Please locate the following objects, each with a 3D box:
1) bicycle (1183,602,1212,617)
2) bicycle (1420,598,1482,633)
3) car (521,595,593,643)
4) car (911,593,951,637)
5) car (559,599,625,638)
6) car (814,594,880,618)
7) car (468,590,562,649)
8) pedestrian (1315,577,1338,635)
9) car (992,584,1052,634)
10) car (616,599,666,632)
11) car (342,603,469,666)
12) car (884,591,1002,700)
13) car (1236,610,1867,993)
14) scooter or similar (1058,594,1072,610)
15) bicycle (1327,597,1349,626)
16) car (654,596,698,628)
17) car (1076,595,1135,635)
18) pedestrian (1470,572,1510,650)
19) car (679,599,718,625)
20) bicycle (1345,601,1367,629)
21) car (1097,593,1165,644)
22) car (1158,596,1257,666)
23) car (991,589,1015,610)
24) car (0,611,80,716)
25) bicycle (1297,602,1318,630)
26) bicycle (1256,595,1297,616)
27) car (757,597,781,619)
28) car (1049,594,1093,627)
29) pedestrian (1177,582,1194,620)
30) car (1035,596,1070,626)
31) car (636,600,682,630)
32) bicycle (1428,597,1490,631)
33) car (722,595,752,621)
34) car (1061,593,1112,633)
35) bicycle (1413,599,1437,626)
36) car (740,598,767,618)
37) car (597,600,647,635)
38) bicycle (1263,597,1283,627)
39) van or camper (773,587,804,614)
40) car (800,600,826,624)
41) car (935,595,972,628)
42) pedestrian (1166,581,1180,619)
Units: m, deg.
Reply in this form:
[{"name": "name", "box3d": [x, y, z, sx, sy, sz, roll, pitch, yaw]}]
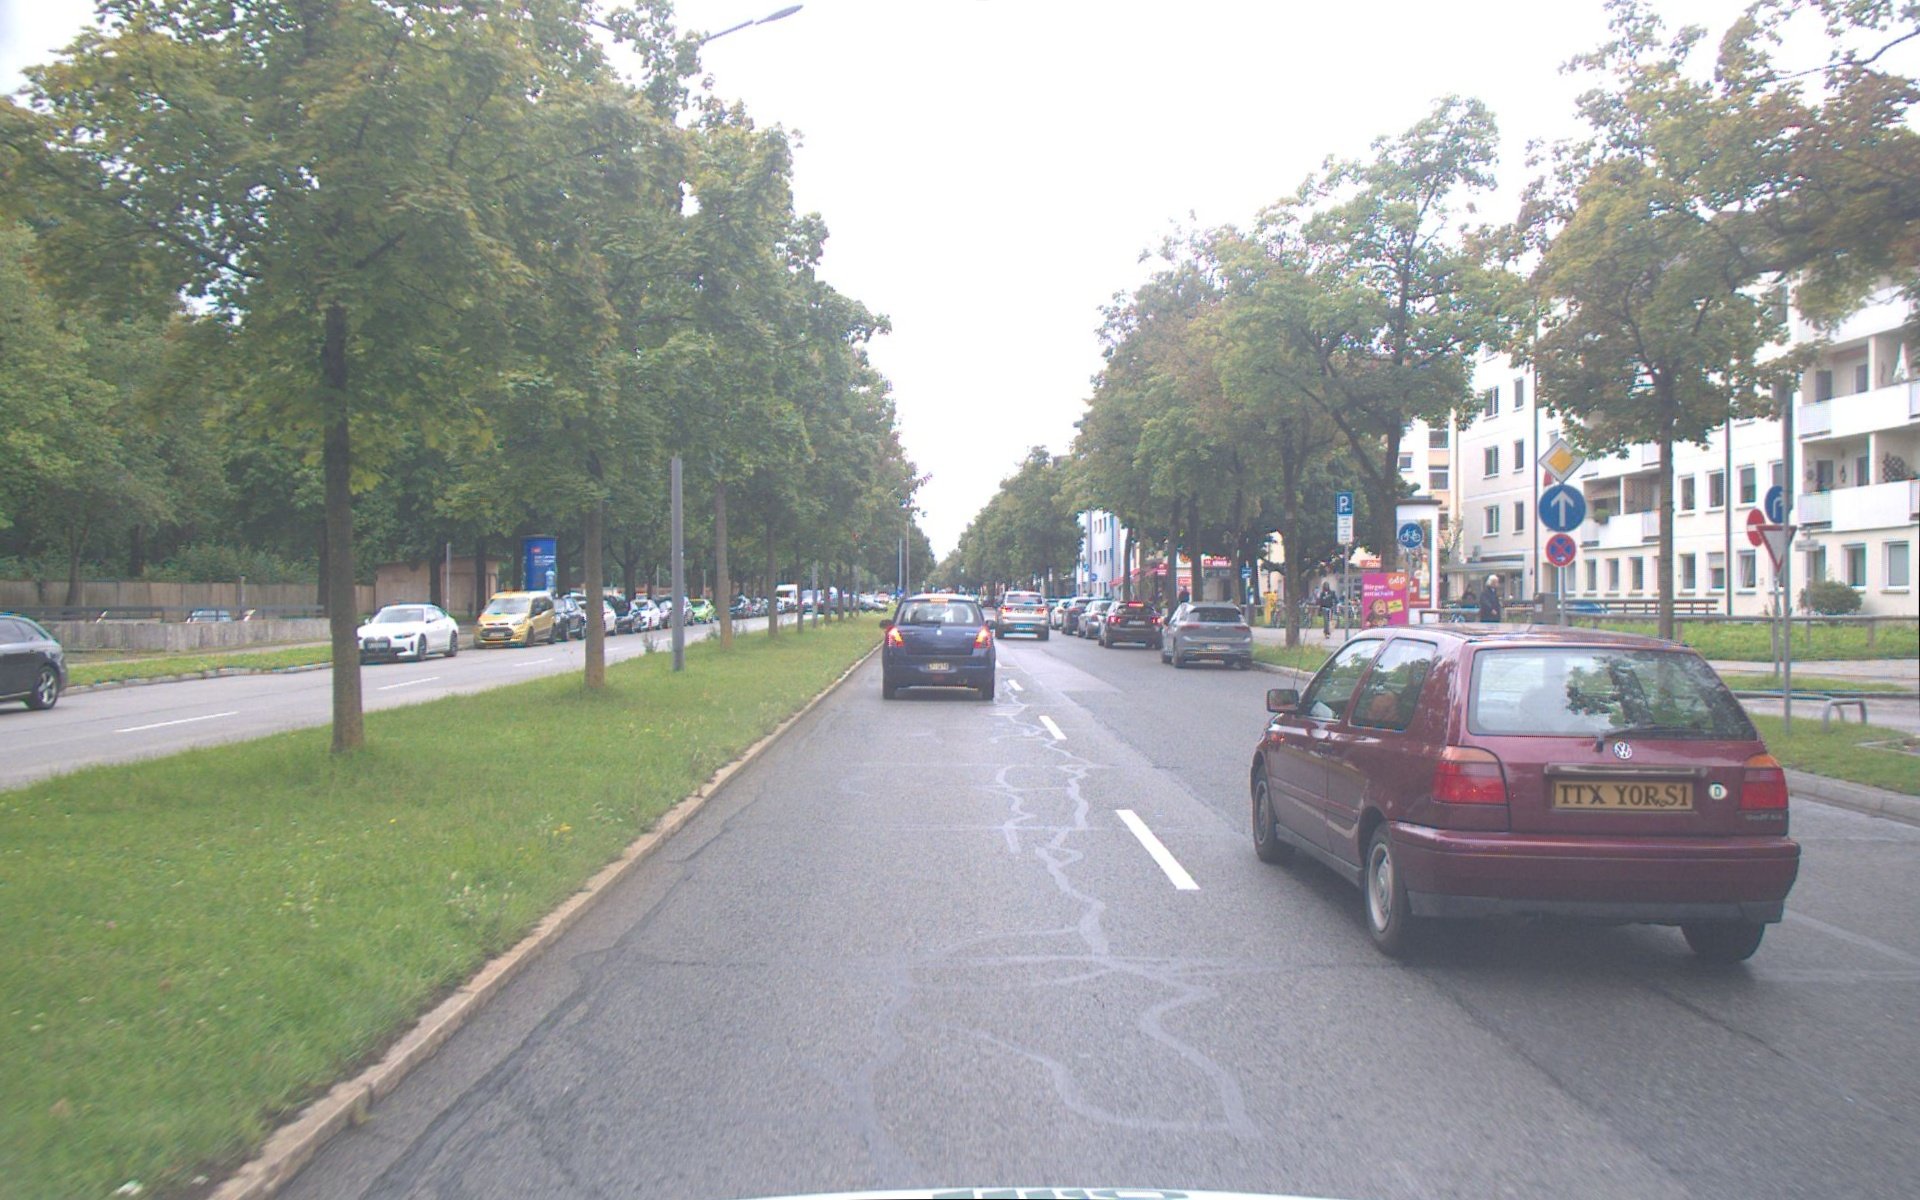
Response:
[{"name": "bicycle", "box3d": [15.480, 0.604, 107.851, 1.810, 0.974, 0.557, 1, 0, -2]}, {"name": "bicycle", "box3d": [15.342, 0.473, 51.678, 1.842, 1.046, 0.432, -1, 0, -9]}, {"name": "car", "box3d": [-15.014, 0.681, 61.788, 1.701, 1.675, 4.255, -2, 0, -1]}, {"name": "car", "box3d": [-1.060, 0.520, 59.284, 1.415, 1.509, 3.105, 0, 0, -2]}, {"name": "car", "box3d": [-15.067, 0.734, 67.893, 1.727, 1.475, 4.532, -2, 0, -1]}, {"name": "car", "box3d": [-7.116, 0.353, 104.149, 4.043, 1.494, 1.837, 0, 0, -7]}, {"name": "car", "box3d": [-14.752, 0.607, 55.121, 1.777, 1.814, 4.817, -2, 0, 0]}, {"name": "pedestrian", "box3d": [11.466, 0.176, 51.768, 0.625, 1.780, 0.850, -2, 0, 14]}, {"name": "car", "box3d": [2.181, 0.304, 59.235, 1.828, 1.690, 4.406, 1, 0, -2]}, {"name": "car", "box3d": [-15.200, 0.740, 79.013, 1.574, 1.469, 4.278, -2, 0, -1]}, {"name": "car", "box3d": [-14.820, 0.885, 44.467, 1.819, 1.498, 4.874, -2, 0, -1]}, {"name": "car", "box3d": [-0.295, 0.628, 25.233, 1.648, 1.528, 3.917, 0, 0, -2]}, {"name": "car", "box3d": [2.598, 0.789, 8.289, 1.648, 1.408, 3.917, 1, 0, -2]}, {"name": "scooter or similar", "box3d": [9.028, 0.178, 142.370, 1.011, 1.330, 2.755, 0, 0, 0]}, {"name": "bicycle", "box3d": [14.818, 0.446, 64.915, 0.422, 1.120, 1.883, -1, 0, 0]}, {"name": "car", "box3d": [-15.397, 0.627, 89.857, 1.656, 1.614, 4.369, -2, 0, -2]}, {"name": "car", "box3d": [5.438, 0.528, 62.225, 1.603, 1.410, 4.241, 1, 0, -4]}, {"name": "pedestrian", "box3d": [12.015, 0.249, 37.483, 0.633, 1.760, 0.594, 1, -1, -32]}, {"name": "car", "box3d": [-15.509, 0.697, 98.188, 1.515, 1.434, 3.880, -2, 0, 2]}, {"name": "bicycle", "box3d": [15.508, 0.581, 64.831, 0.422, 1.046, 1.883, -1, 0, 0]}, {"name": "car", "box3d": [5.316, 0.558, 51.916, 1.714, 1.491, 4.176, 1, 0, 0]}, {"name": "car", "box3d": [5.637, 0.668, 38.037, 1.647, 1.491, 4.115, 1, 0, 0]}, {"name": "car", "box3d": [3.677, -0.061, 142.246, 1.828, 1.712, 4.222, 0, 0, -2]}, {"name": "car", "box3d": [-14.310, 0.929, 22.996, 1.763, 1.450, 4.430, -2, 0, -1]}, {"name": "bicycle", "box3d": [13.675, 0.616, 65.136, 0.422, 1.046, 1.883, -1, 0, 0]}, {"name": "bicycle", "box3d": [14.810, 0.269, 77.402, 1.839, 0.956, 0.558, 1, 0, 1]}, {"name": "car", "box3d": [-15.855, 0.647, 137.464, 1.599, 1.771, 3.878, 1, 0, -2]}, {"name": "car", "box3d": [5.220, 0.476, 78.222, 1.648, 1.491, 4.136, 2, 0, -1]}, {"name": "pedestrian", "box3d": [11.564, 0.039, 84.744, 0.714, 1.923, 0.919, -1, 0, -2]}, {"name": "car", "box3d": [4.959, 0.587, 88.700, 1.584, 1.491, 3.673, 2, 0, -1]}, {"name": "car", "box3d": [-15.288, 0.737, 84.071, 1.558, 1.421, 3.631, -2, 0, 1]}, {"name": "bicycle", "box3d": [15.747, 0.436, 52.232, 1.841, 1.046, 0.432, -1, 0, -7]}, {"name": "car", "box3d": [-15.529, 0.563, 115.360, 1.682, 1.771, 3.878, 1, 0, -2]}, {"name": "car", "box3d": [5.194, 0.506, 68.213, 1.682, 1.560, 4.275, 1, 0, -1]}, {"name": "bicycle", "box3d": [18.230, 0.482, 64.899, 0.422, 1.046, 1.883, -1, 0, 0]}, {"name": "car", "box3d": [-15.691, 0.594, 125.741, 1.633, 1.471, 3.878, 1, 0, -2]}, {"name": "car", "box3d": [-14.915, 0.735, 73.092, 1.581, 1.442, 3.895, -2, 0, -3]}, {"name": "bicycle", "box3d": [12.426, 0.461, 65.783, 0.422, 1.153, 1.883, -1, 1, 0]}, {"name": "van or camper", "box3d": [-16.270, 0.043, 156.977, 2.073, 2.525, 7.448, 1, 0, 0]}, {"name": "car", "box3d": [-12.279, 1.001, 138.111, 1.763, 1.967, 4.992, -2, 0, -1]}, {"name": "car", "box3d": [-0.317, 0.535, 76.969, 1.648, 1.488, 3.733, 0, 0, -1]}, {"name": "pedestrian", "box3d": [10.896, 0.000, 84.716, 0.576, 1.923, 0.901, -1, 0, -2]}]
